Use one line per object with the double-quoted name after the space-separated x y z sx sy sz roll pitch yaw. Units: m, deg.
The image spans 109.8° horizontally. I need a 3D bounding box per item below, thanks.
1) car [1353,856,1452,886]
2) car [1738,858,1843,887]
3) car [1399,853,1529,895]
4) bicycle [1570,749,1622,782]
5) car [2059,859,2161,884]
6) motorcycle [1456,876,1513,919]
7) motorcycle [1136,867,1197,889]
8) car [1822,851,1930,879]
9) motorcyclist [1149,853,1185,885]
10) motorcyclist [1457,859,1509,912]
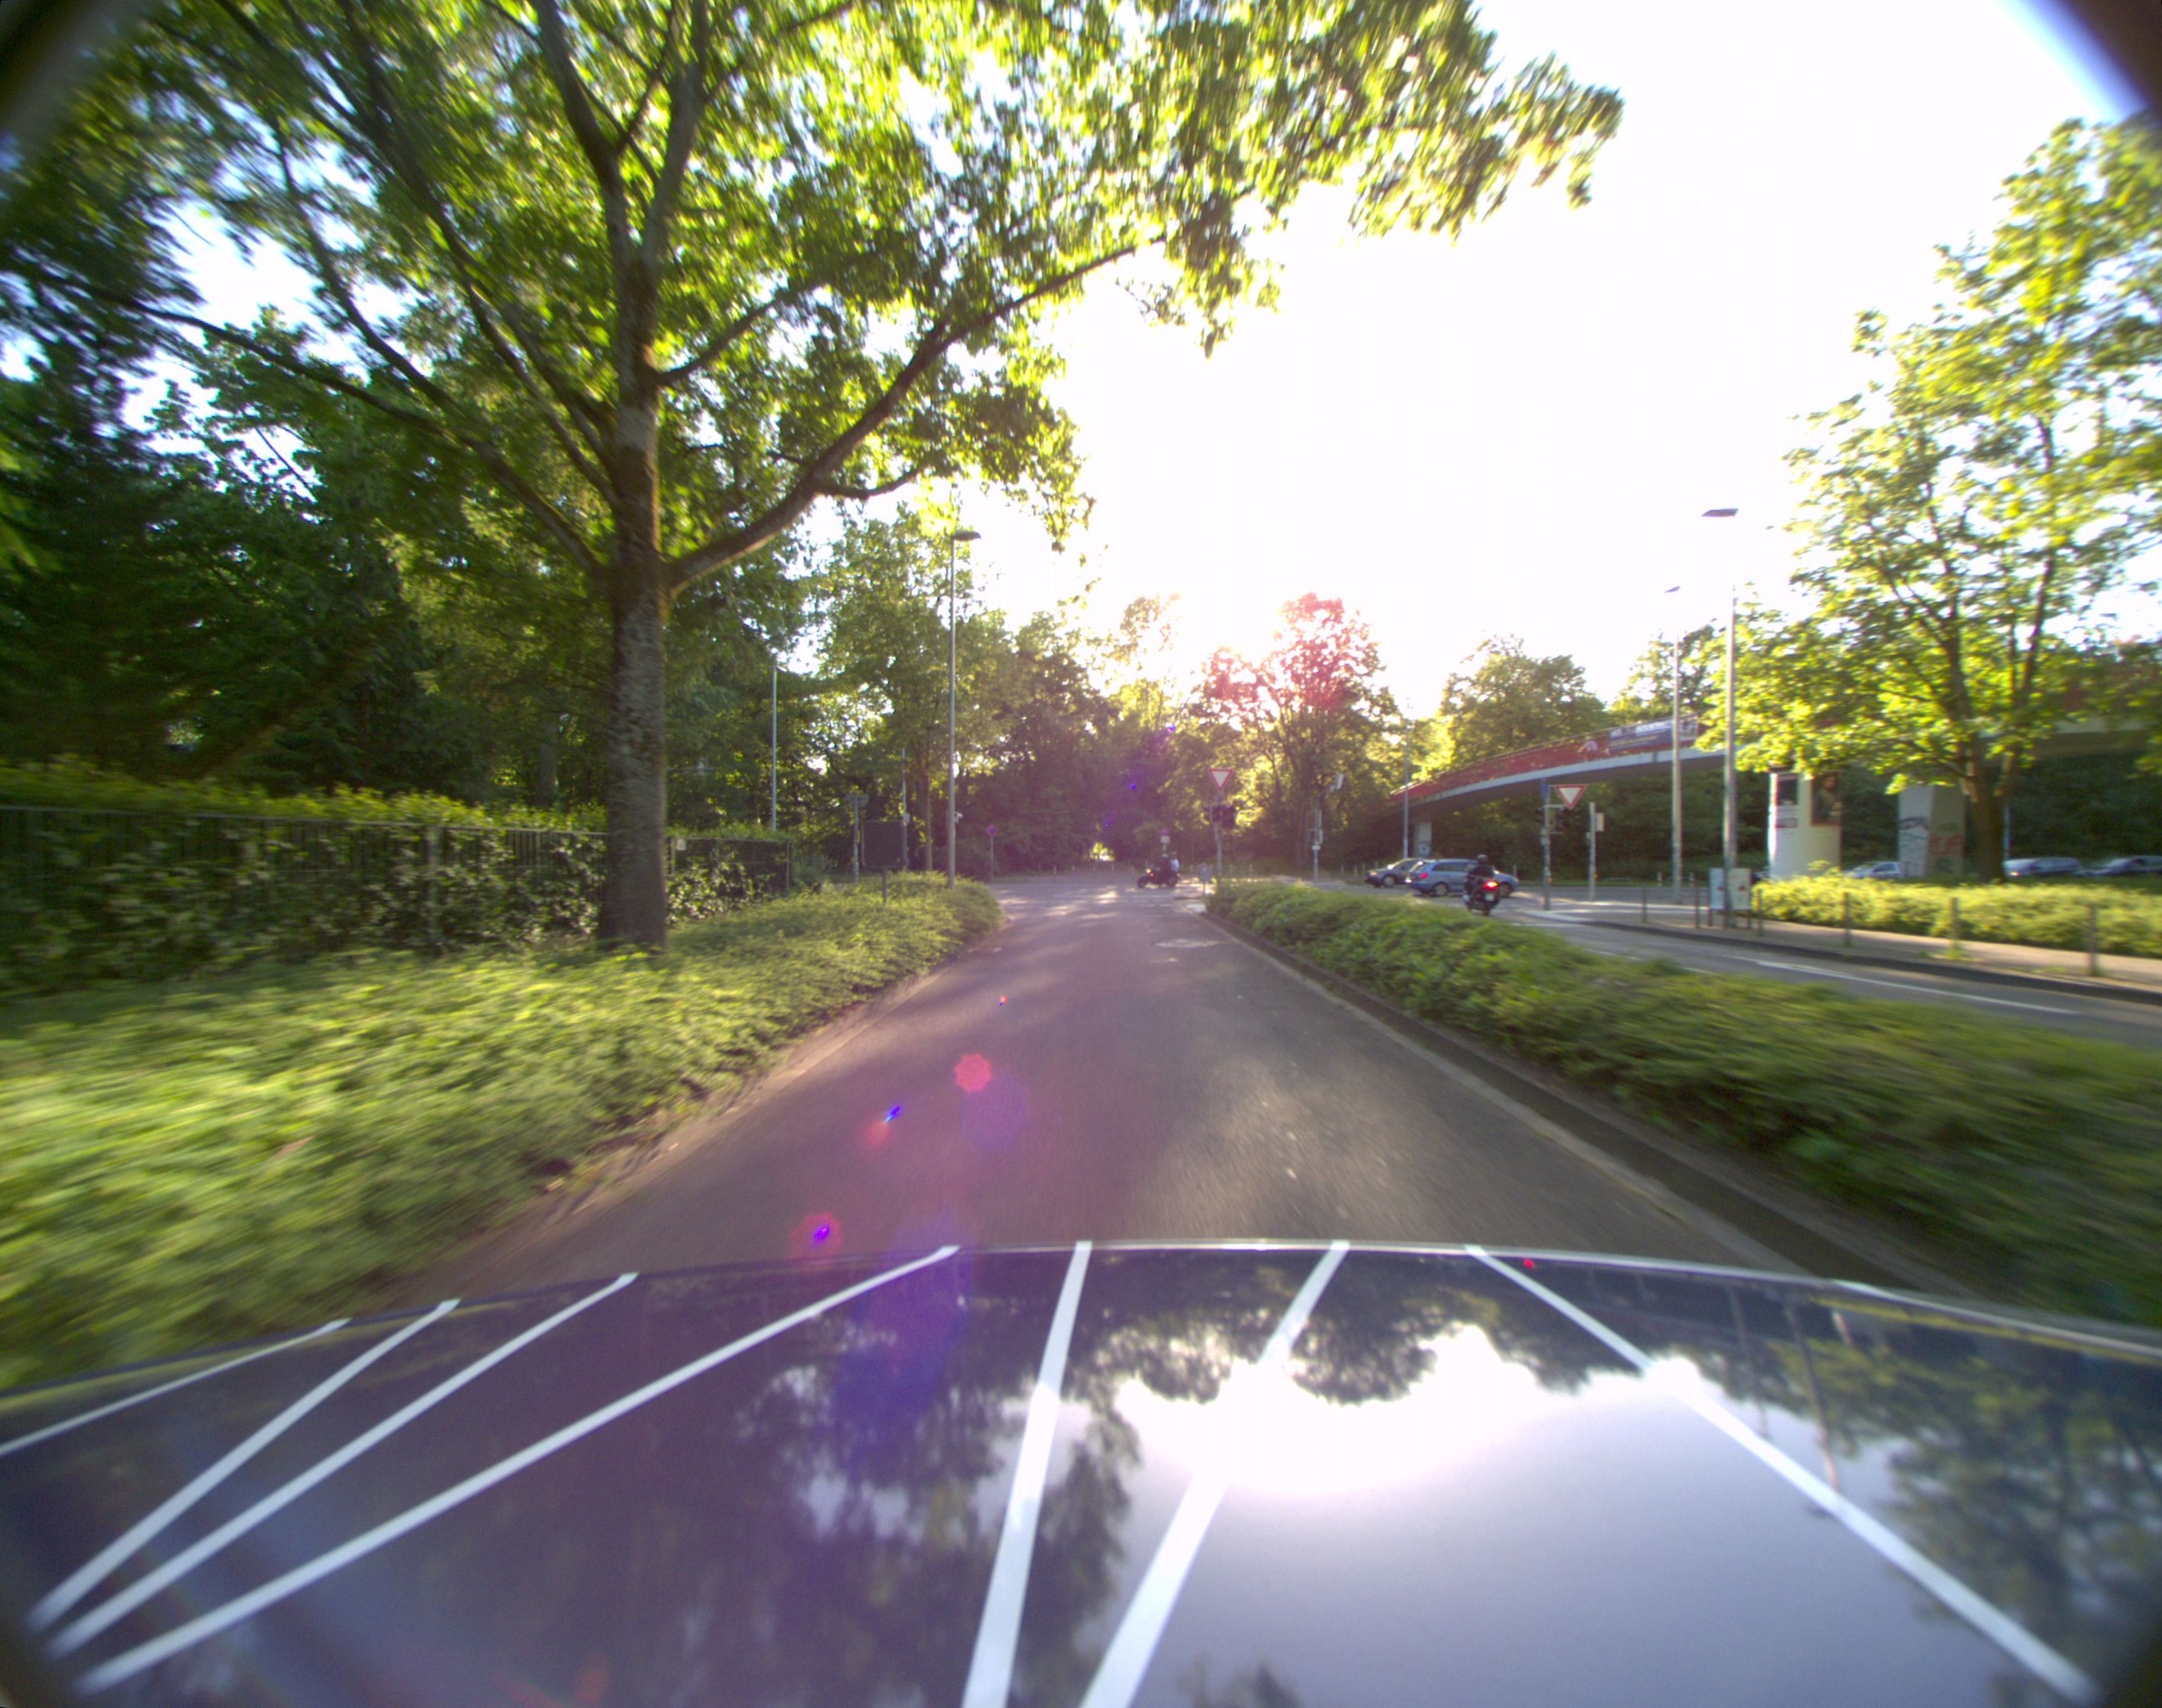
15.476 0.810 36.692 3.996 1.381 1.869 0 1 2 "car"
38.457 1.002 41.242 4.123 1.499 1.695 0 0 0 "car"
15.423 0.786 30.778 4.315 1.571 1.812 0 3 2 "car"
25.503 -4.356 37.664 1.051 1.365 2.448 0 2 5 "bicycle"
51.948 0.858 37.878 3.996 1.237 1.737 0 0 2 "car"
11.243 1.189 21.264 0.524 1.062 2.288 0 0 4 "motorcycle"
3.944 1.104 35.220 2.710 0.907 0.808 -2 0 3 "motorcycle"
43.002 0.577 41.152 3.972 1.499 1.722 0 1 2 "car"
3.976 0.665 35.267 1.565 1.419 1.139 -2 0 2 "motorcyclist"
11.277 0.864 21.351 0.950 1.462 1.070 0 0 4 "motorcyclist"
